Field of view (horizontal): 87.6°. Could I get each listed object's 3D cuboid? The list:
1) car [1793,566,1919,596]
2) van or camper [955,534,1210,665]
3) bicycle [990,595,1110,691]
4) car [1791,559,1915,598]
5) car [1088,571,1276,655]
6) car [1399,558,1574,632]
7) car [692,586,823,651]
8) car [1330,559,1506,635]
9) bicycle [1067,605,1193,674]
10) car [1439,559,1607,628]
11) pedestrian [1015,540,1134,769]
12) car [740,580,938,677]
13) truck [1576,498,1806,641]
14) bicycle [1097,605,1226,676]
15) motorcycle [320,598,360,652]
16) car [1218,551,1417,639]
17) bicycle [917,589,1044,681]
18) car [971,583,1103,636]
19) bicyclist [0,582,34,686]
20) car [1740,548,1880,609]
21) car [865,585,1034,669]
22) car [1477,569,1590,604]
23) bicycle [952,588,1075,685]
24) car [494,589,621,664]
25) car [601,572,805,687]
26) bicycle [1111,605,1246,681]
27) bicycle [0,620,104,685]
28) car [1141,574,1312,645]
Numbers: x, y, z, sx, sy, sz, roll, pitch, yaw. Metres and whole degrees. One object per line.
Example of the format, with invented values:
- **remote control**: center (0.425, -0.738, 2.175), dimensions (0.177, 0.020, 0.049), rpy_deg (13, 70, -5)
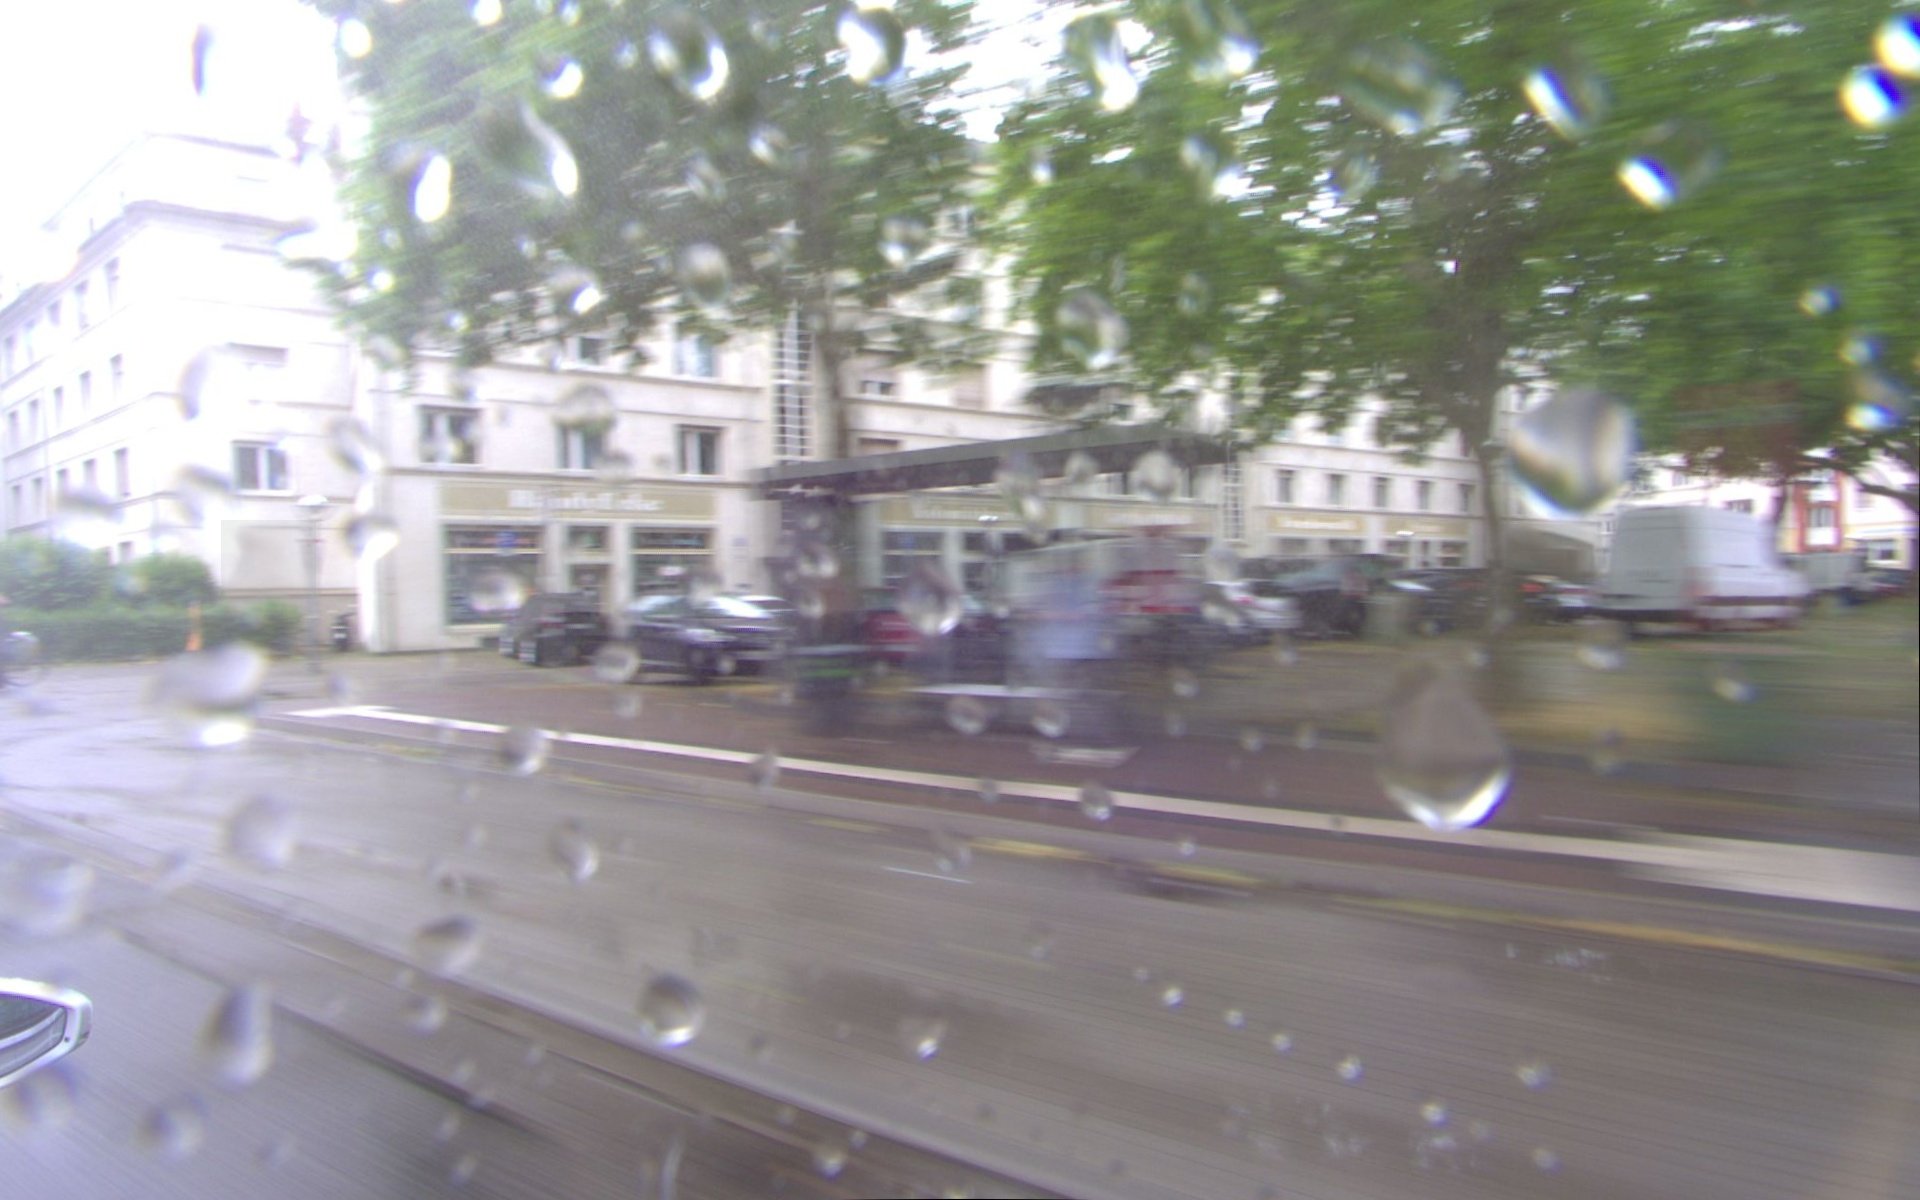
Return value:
- **car**: center (39.087, -0.833, 43.602), dimensions (1.974, 1.224, 3.973), rpy_deg (-2, 1, -35)
- **van or camper**: center (2.257, -0.014, 20.257), dimensions (2.368, 2.261, 5.403), rpy_deg (-2, 1, -29)
- **bicycle**: center (1.259, 0.565, 13.784), dimensions (1.744, 1.211, 0.495), rpy_deg (-2, 2, -36)
- **car**: center (41.486, -0.957, 46.599), dimensions (1.692, 1.639, 3.978), rpy_deg (-1, -1, -31)
- **car**: center (4.623, 0.277, 21.261), dimensions (1.664, 1.596, 3.710), rpy_deg (-2, 0, -36)
- **car**: center (14.795, -0.102, 28.331), dimensions (1.814, 1.861, 3.979), rpy_deg (-2, -1, -32)
- **car**: center (-5.737, 0.522, 27.905), dimensions (1.974, 1.649, 4.600), rpy_deg (1, -1, -34)
- **car**: center (12.408, -0.035, 27.366), dimensions (1.814, 1.861, 3.979), rpy_deg (-2, -1, -32)
- **bicycle**: center (2.764, 0.610, 16.142), dimensions (2.224, 0.981, 0.581), rpy_deg (-2, 1, -34)
- **car**: center (16.806, -0.156, 30.093), dimensions (1.814, 1.861, 3.979), rpy_deg (-2, -1, -32)
- **pedestrian**: center (0.904, 0.402, 7.859), dimensions (0.656, 1.691, 0.714), rpy_deg (-1, 1, 33)
- **car**: center (-2.109, 0.512, 16.983), dimensions (3.356, 1.475, 1.515), rpy_deg (-4, -1, 44)
- **truck**: center (16.115, -0.642, 21.929), dimensions (6.319, 2.735, 2.252), rpy_deg (-2, 1, -36)
- **bicycle**: center (3.149, 0.601, 15.509), dimensions (2.229, 0.981, 0.531), rpy_deg (-2, 1, -34)
- **motorcycle**: center (-17.397, 0.663, 28.130), dimensions (0.866, 1.411, 2.987), rpy_deg (-2, 1, -32)
- **car**: center (8.429, -0.068, 23.920), dimensions (2.132, 1.861, 3.979), rpy_deg (-2, -1, -32)
- **bicycle**: center (0.326, 0.489, 14.952), dimensions (1.817, 1.275, 0.705), rpy_deg (-2, 1, -36)
- **car**: center (2.479, 0.336, 33.425), dimensions (1.974, 1.649, 4.600), rpy_deg (1, -1, -34)
- **bicyclist**: center (-18.074, 0.629, 18.477), dimensions (1.122, 1.893, 0.940), rpy_deg (-1, 1, 15)
- **car**: center (35.074, -0.857, 41.434), dimensions (1.532, 2.231, 4.077), rpy_deg (-2, -1, -32)
- **car**: center (-0.273, 0.505, 18.365), dimensions (1.566, 1.353, 3.244), rpy_deg (-2, -1, -33)
- **car**: center (28.989, -0.646, 50.746), dimensions (1.974, 1.649, 4.600), rpy_deg (1, -1, -34)
- **bicycle**: center (0.788, 0.489, 14.272), dimensions (1.817, 1.275, 0.521), rpy_deg (-2, 2, -36)
- **car**: center (-9.925, 0.639, 24.482), dimensions (1.974, 1.649, 4.600), rpy_deg (1, -1, -34)
- **car**: center (-4.122, 0.479, 15.751), dimensions (1.675, 1.571, 3.493), rpy_deg (-2, -1, -41)
- **bicycle**: center (3.277, 0.611, 14.877), dimensions (2.258, 0.996, 0.542), rpy_deg (-2, 1, -34)
- **bicycle**: center (-18.074, 1.005, 18.635), dimensions (1.035, 1.127, 3.212), rpy_deg (-1, 1, 15)
- **car**: center (6.105, 0.262, 23.336), dimensions (1.661, 1.450, 3.718), rpy_deg (-2, -2, -31)
